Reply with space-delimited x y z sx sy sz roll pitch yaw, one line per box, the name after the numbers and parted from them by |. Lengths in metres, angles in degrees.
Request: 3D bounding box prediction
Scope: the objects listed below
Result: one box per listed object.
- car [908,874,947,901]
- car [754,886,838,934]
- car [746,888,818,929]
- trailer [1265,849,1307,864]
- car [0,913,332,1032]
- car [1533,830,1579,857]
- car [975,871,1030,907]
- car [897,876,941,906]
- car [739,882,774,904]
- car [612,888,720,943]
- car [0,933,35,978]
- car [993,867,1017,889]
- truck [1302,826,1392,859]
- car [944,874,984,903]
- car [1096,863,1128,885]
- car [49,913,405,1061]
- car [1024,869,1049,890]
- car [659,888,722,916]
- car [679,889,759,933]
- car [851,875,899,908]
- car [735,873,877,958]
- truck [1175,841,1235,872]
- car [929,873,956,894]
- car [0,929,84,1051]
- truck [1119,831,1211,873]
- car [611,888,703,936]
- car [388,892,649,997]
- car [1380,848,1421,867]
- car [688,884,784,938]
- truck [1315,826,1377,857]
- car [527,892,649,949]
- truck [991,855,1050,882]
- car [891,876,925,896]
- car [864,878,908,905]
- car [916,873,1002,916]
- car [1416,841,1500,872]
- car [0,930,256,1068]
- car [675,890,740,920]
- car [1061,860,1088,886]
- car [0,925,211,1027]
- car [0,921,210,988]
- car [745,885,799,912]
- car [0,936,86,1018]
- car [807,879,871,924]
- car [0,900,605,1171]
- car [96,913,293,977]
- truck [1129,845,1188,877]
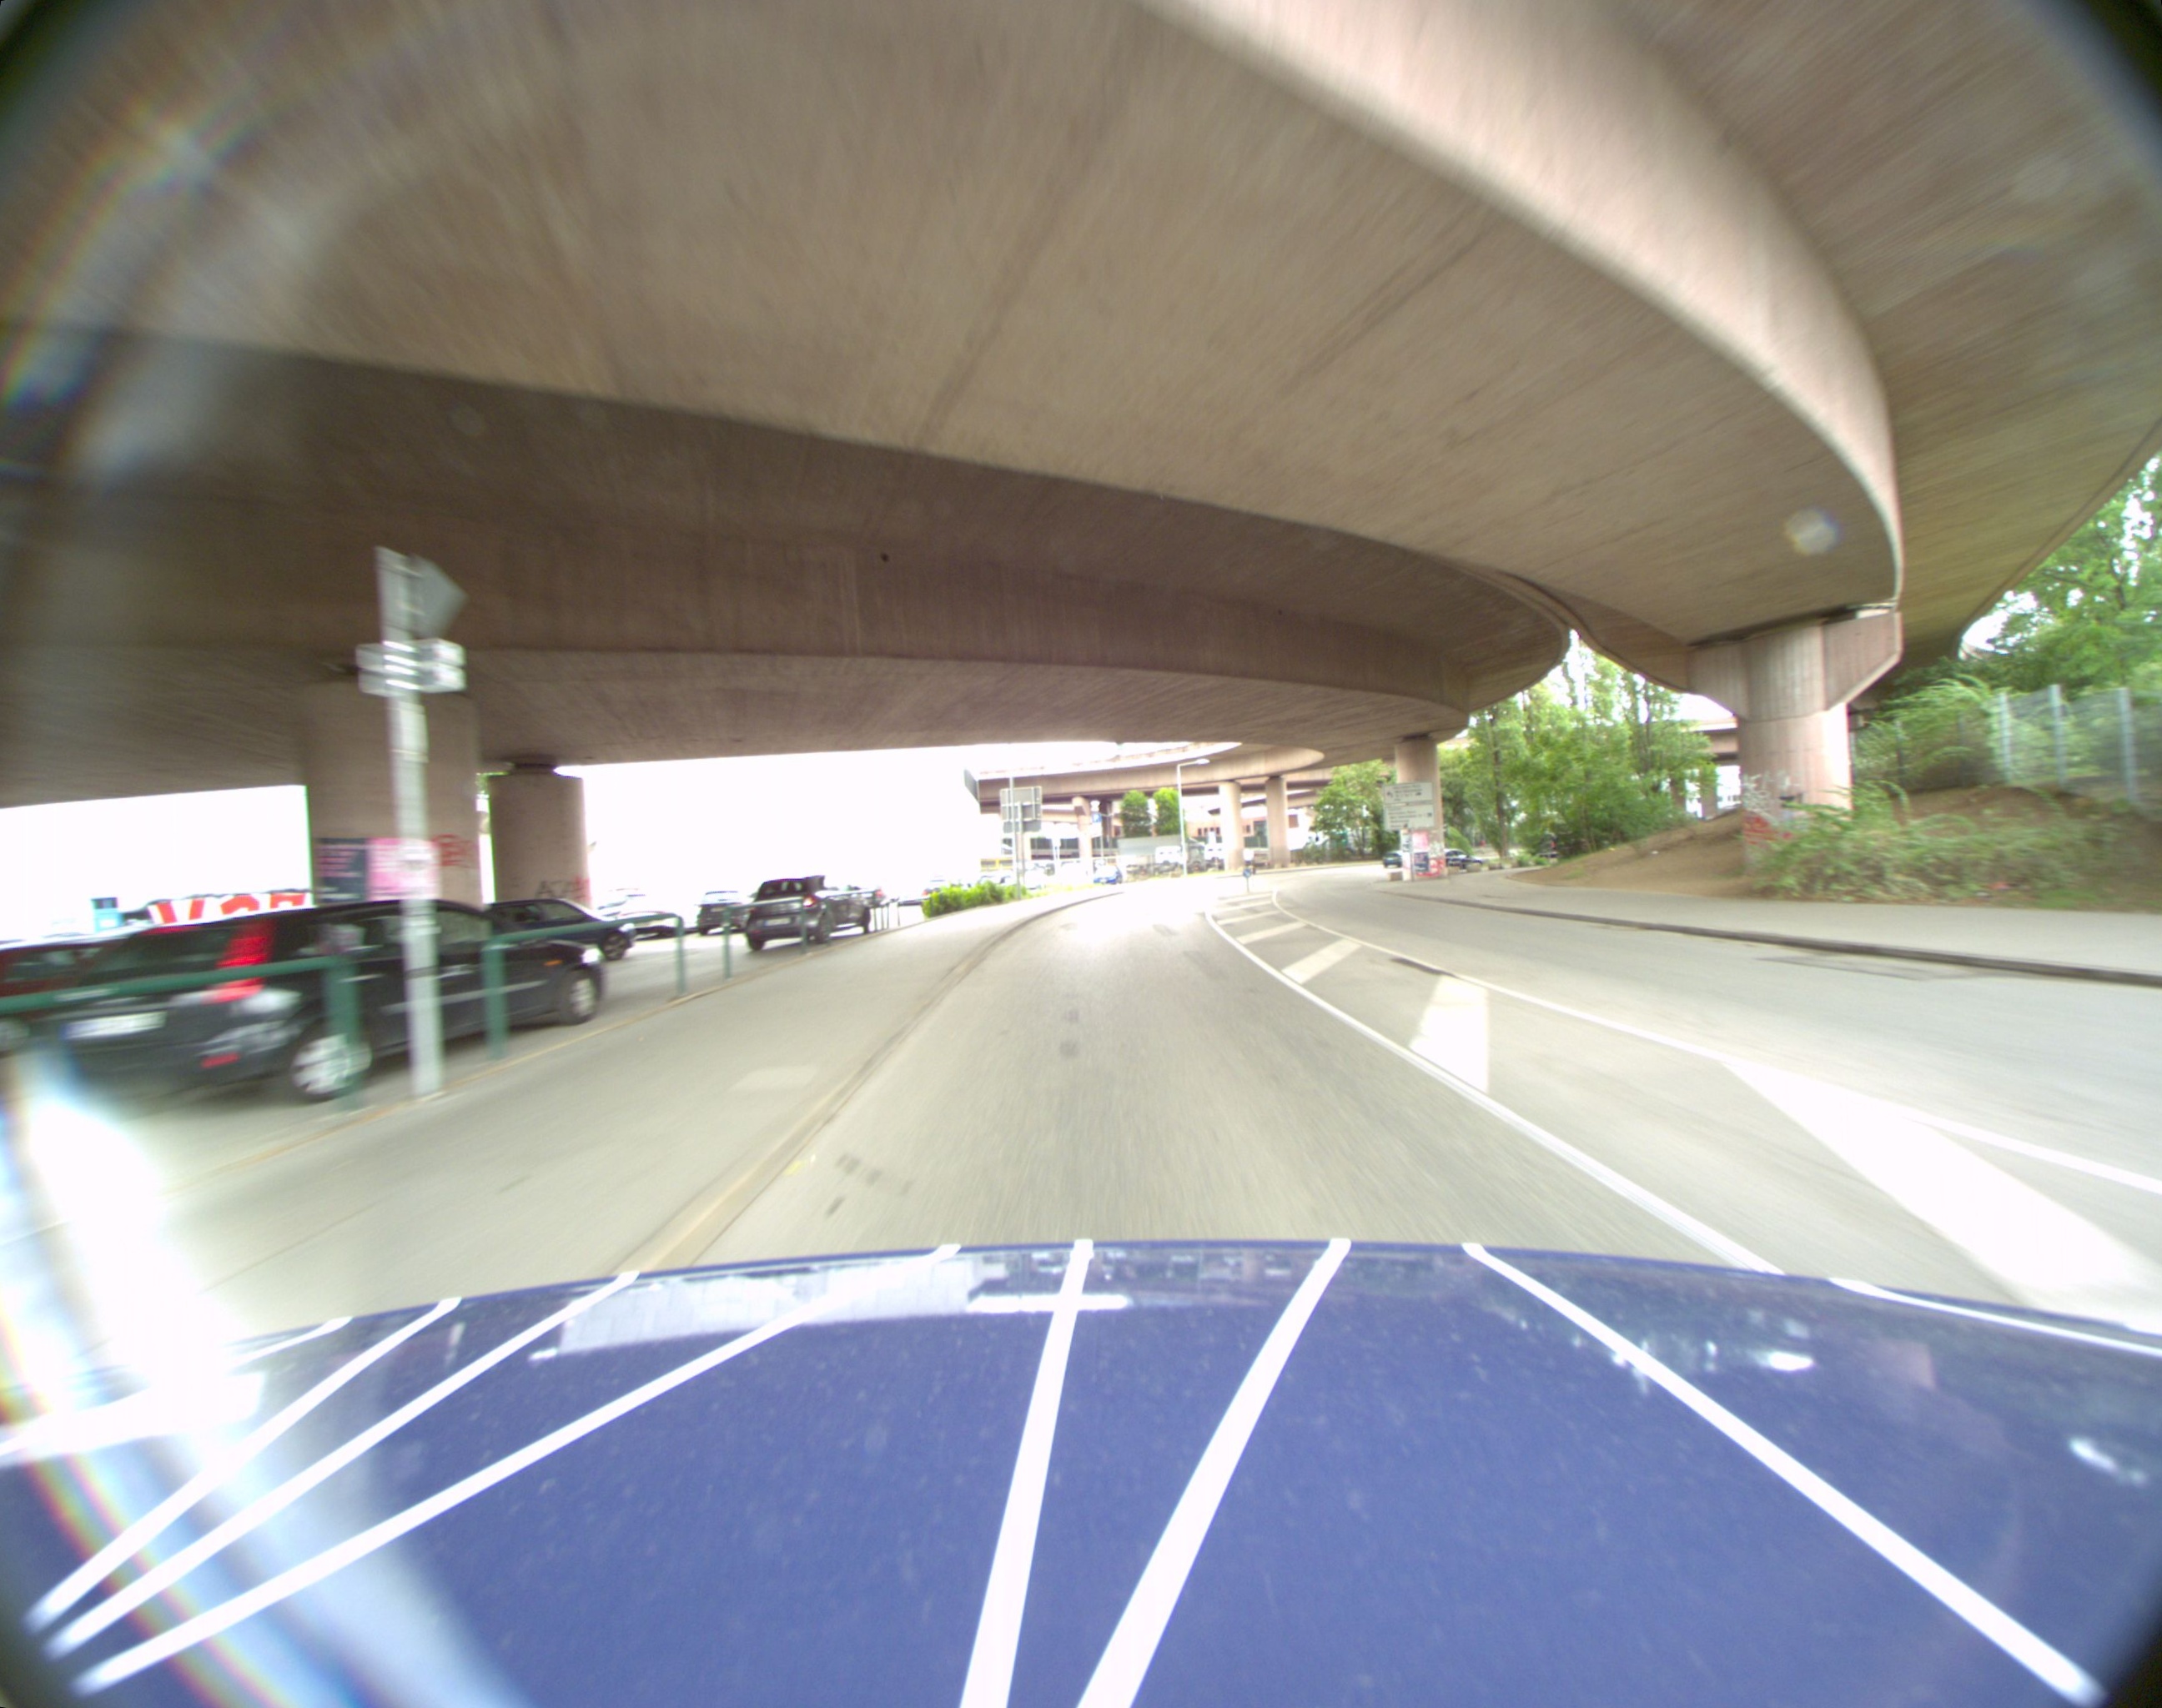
-9.908 2.149 49.378 1.838 1.504 4.500 -3 -1 -4 | car
-10.303 1.978 27.782 1.838 1.413 4.190 -3 0 -6 | car
-12.904 2.307 33.073 1.756 1.440 4.457 -3 0 -6 | car
21.307 0.271 78.898 4.388 1.324 1.602 -4 1 -30 | trailer
-16.971 2.076 14.285 1.838 1.541 4.190 -3 0 -6 | car
35.863 -0.819 57.510 1.853 1.906 4.979 -3 0 19 | car
-3.702 1.635 36.085 1.541 1.470 2.764 -3 0 17 | car
-9.284 2.072 43.876 1.858 1.466 4.685 -3 -1 -6 | car
-24.968 2.997 58.596 1.497 1.451 4.062 -3 0 -9 | car
-14.619 2.101 27.024 1.838 1.583 4.190 -3 0 -6 | car
-36.717 3.449 23.952 1.838 1.400 4.190 -3 0 -6 | car
-6.079 1.924 61.125 1.775 1.578 4.359 -3 0 -4 | car
32.873 -1.479 94.048 10.211 3.478 2.270 -3 1 -3 | truck
-6.787 1.982 44.502 1.857 1.466 4.686 -3 -1 -4 | car
2.580 1.612 62.641 1.773 1.625 4.690 -3 0 12 | car
-12.215 1.795 11.234 1.530 1.491 3.373 -5 0 -7 | car
-3.540 2.023 61.320 1.774 1.448 4.555 -3 0 -1 | car
-24.443 2.977 47.786 1.838 1.417 4.441 -3 -1 -4 | car
-15.356 2.385 32.468 1.756 1.547 4.086 -3 0 -6 | car
-11.752 2.121 43.714 1.858 1.618 4.619 -3 -1 -6 | car
-5.975 1.273 16.923 1.610 1.524 3.411 -5 -1 4 | car
12.397 0.207 75.531 2.418 2.727 7.250 -4 -1 39 | truck
-10.922 2.310 60.140 1.623 1.535 3.097 -3 0 -3 | car
-16.614 2.062 10.071 1.838 1.688 3.860 -3 0 -7 | car
9.949 -0.232 90.476 10.131 4.339 3.913 -3 -1 -4 | truck
-17.833 2.380 32.211 1.756 1.681 4.430 -3 0 -6 | car
-11.215 1.742 15.509 1.788 1.498 3.863 -5 1 17 | car
27.683 0.315 65.851 4.007 1.422 1.677 -3 0 -43 | car
-12.231 1.967 27.259 1.838 1.583 4.190 -3 0 -6 | car
31.597 -1.486 90.692 6.408 3.389 2.270 -3 1 -1 | truck
-17.046 2.240 26.544 1.838 1.583 4.190 -3 0 -6 | car
-7.364 1.821 93.709 6.925 2.914 3.051 -3 -1 -1 | truck
-13.394 2.448 59.123 1.775 1.375 4.360 -3 0 -3 | car
-12.590 2.397 49.327 1.838 1.504 4.500 -3 -1 -4 | car
-5.003 1.644 31.749 1.732 1.470 4.255 -3 0 17 | car
22.077 0.149 44.437 4.780 1.421 1.825 -3 -2 -28 | car
-14.460 2.024 10.265 1.837 1.461 4.379 -5 0 -2 | car
-21.135 2.834 43.183 1.784 1.384 4.434 -3 -1 -6 | car
-0.476 1.518 62.779 1.892 1.945 4.681 -3 0 3 | car
-19.206 2.251 13.956 1.838 1.457 4.190 -3 0 -6 | car
-31.698 3.205 24.830 1.838 1.583 4.190 -3 0 -6 | car
-19.580 2.791 48.335 1.838 1.417 4.441 -3 -1 -4 | car
-21.604 2.465 13.762 1.838 1.457 4.190 -3 0 -6 | car
-10.411 1.986 33.017 1.745 1.665 4.468 -3 0 -6 | car
-6.142 1.255 6.507 1.610 1.389 3.581 -5 -1 4 | car
-29.201 2.936 25.278 1.838 1.583 4.190 -3 0 -6 | car
7.779 0.676 75.705 2.452 2.869 6.130 -4 -1 45 | truck
